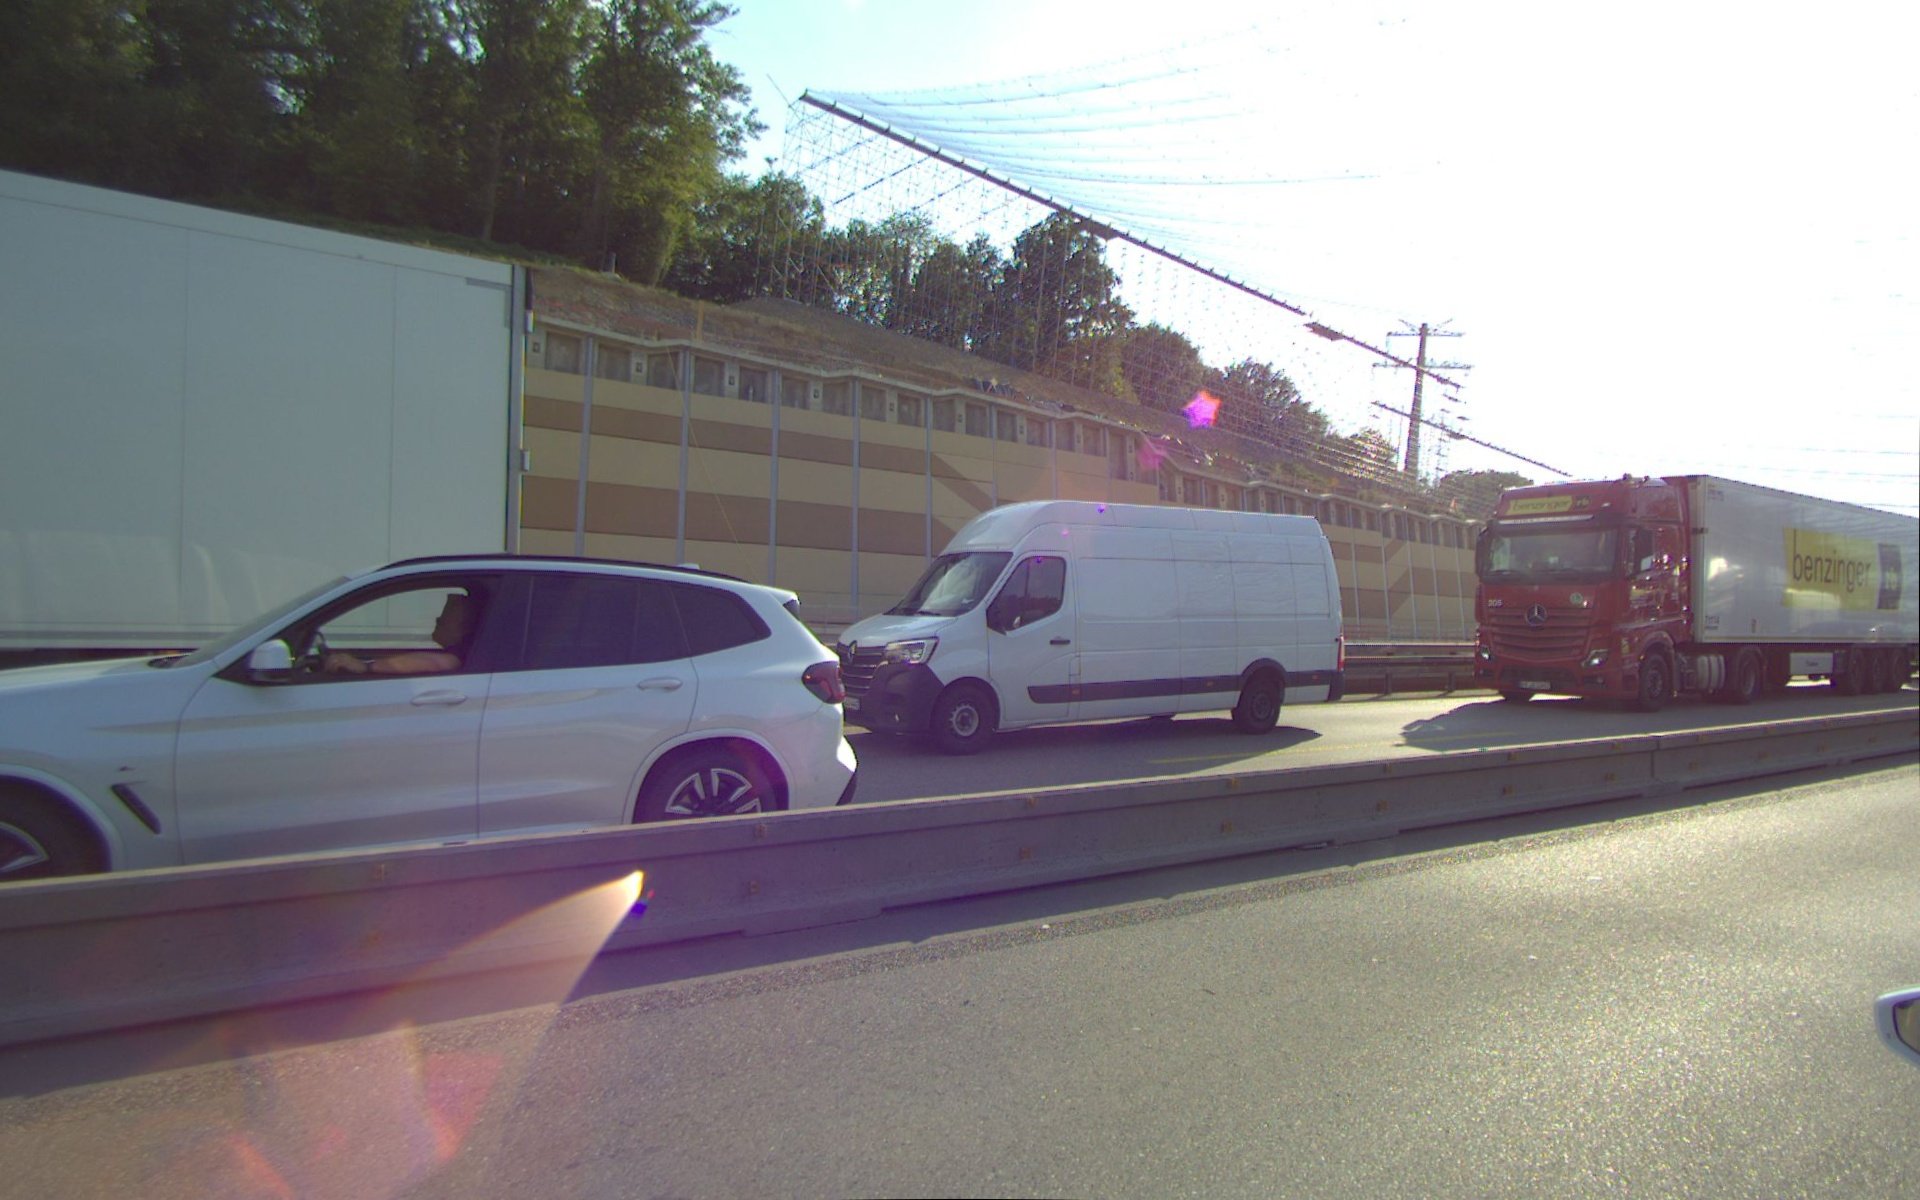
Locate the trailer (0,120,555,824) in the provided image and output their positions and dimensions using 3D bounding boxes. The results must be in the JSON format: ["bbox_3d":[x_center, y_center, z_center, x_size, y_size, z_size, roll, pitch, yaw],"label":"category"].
[{"bbox_3d":[-9.650,-0.869,5.373,13.591,4.274,2.707,2,0,-31],"label":"trailer"}]

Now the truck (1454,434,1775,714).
[{"bbox_3d":[12.069,-0.343,18.406,5.869,4.357,2.729,2,0,-33],"label":"truck"}]

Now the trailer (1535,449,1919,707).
[{"bbox_3d":[17.675,-0.214,22.037,13.731,4.391,2.750,2,0,-33],"label":"trailer"}]

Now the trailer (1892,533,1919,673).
[{"bbox_3d":[35.031,0.257,33.398,13.820,4.196,2.782,2,0,-34],"label":"trailer"}]

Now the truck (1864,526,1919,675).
[{"bbox_3d":[29.482,0.090,29.658,5.872,4.196,2.770,2,0,-34],"label":"truck"}]

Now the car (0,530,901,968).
[{"bbox_3d":[-2.839,0.562,5.193,4.748,1.610,1.860,1,0,-31],"label":"car"}]

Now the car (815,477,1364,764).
[{"bbox_3d":[1.823,0.190,12.197,6.870,2.726,2.011,0,1,-32],"label":"car"}]
